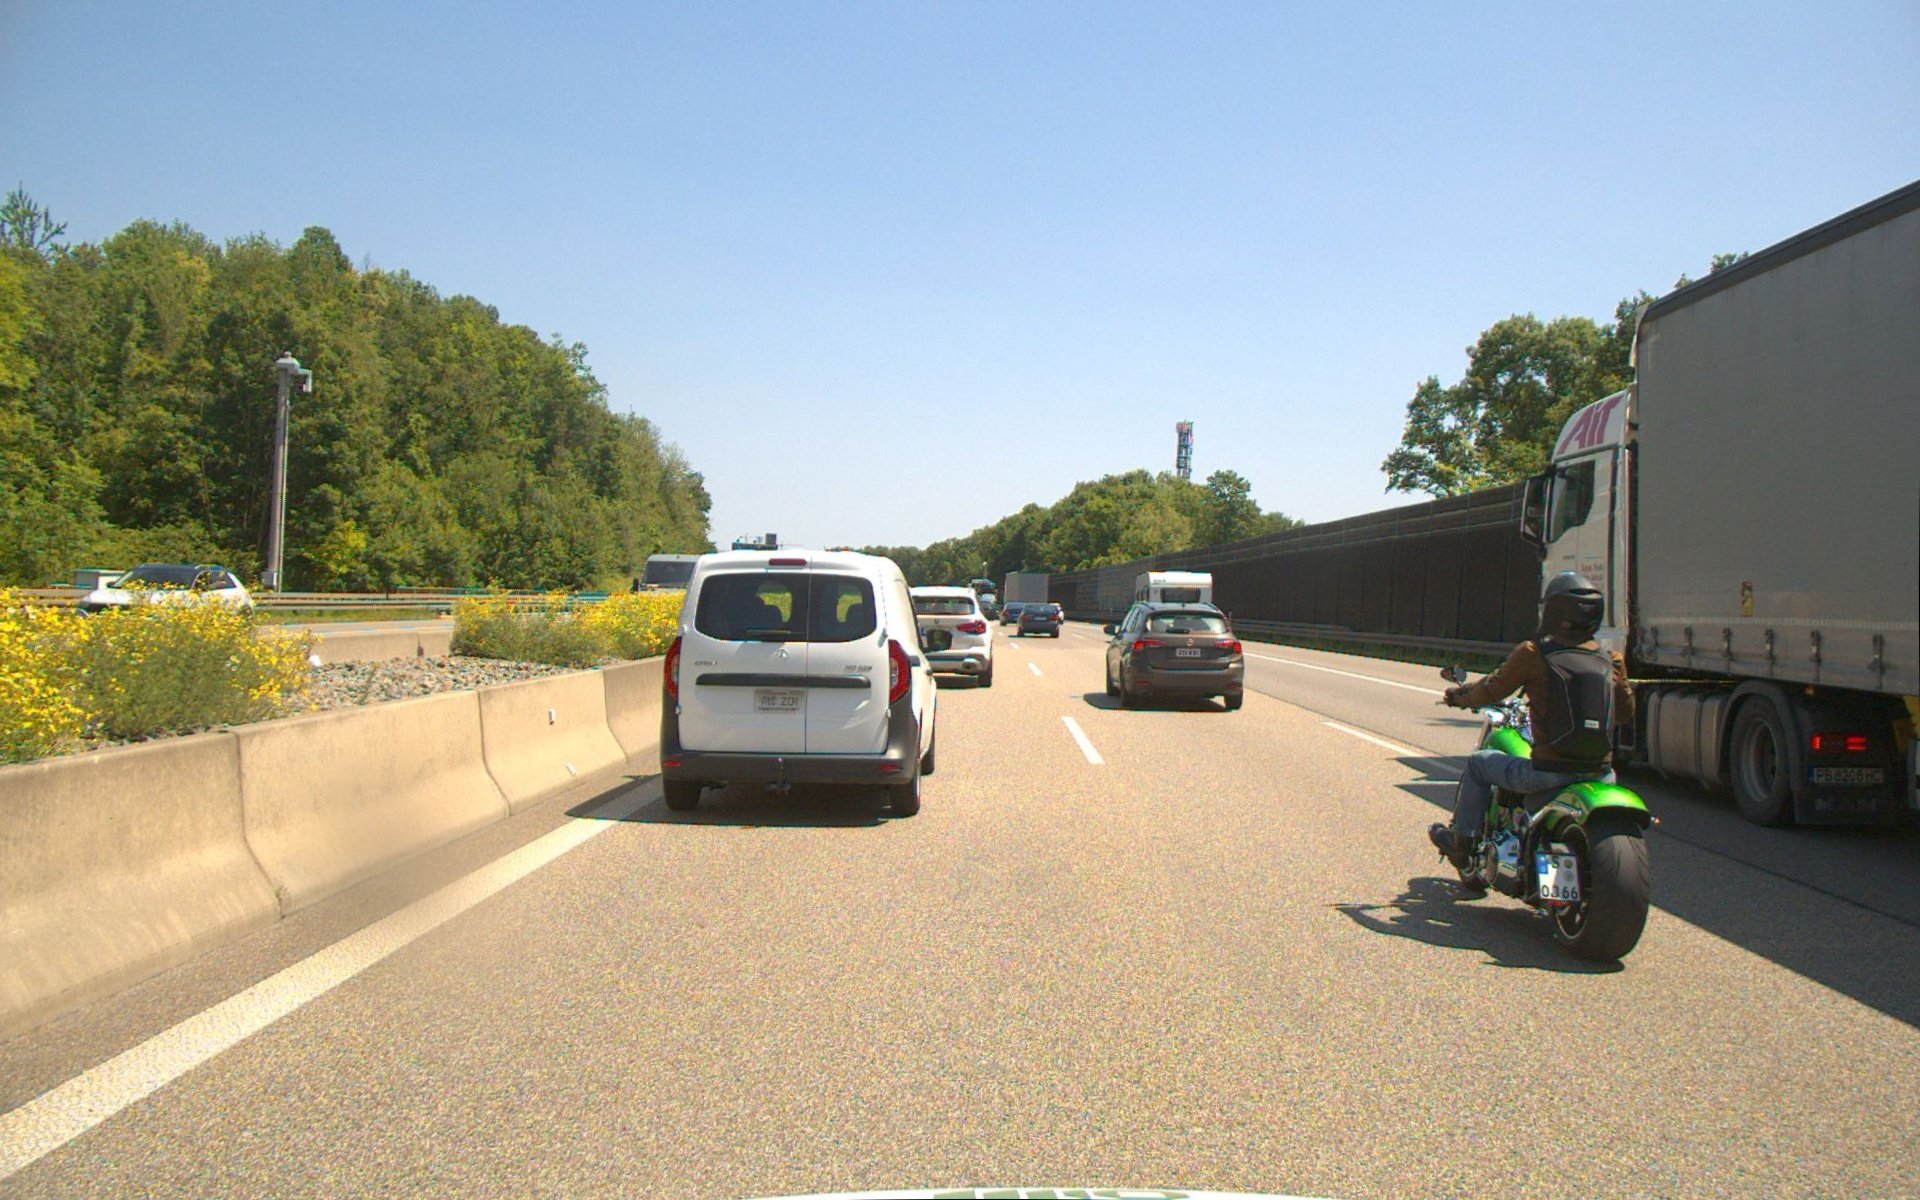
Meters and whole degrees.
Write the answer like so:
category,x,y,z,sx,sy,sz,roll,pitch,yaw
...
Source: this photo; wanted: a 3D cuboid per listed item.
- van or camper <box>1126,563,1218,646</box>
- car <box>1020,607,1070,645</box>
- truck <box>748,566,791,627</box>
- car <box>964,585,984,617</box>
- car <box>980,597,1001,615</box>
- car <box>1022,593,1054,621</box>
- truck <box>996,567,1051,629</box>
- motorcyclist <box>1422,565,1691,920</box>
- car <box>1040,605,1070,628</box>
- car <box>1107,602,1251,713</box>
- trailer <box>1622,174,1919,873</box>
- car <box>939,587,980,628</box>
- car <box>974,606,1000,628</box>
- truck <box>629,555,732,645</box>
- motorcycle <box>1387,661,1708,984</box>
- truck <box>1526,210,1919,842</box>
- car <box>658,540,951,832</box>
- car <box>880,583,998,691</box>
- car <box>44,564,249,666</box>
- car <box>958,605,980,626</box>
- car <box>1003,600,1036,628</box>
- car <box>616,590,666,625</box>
category,x,y,z,sx,sy,sz,roll,pitch,yaw
van or camper,7.835,0.228,61.909,2.630,2.862,6.803,1,-1,1
car,3.458,1.056,67.629,1.952,1.455,3.848,1,-1,2
truck,-17.810,-0.232,155.359,3.412,5.369,10.009,2,-2,-4
car,1.702,0.154,209.099,2.090,3.929,8.139,2,0,-2
car,3.482,0.693,189.753,2.065,1.909,3.998,1,-1,-2
car,4.938,0.448,105.258,1.766,1.716,3.917,2,0,-1
truck,5.368,-0.053,141.614,3.727,5.047,8.944,1,-1,-3
motorcyclist,2.829,0.626,8.065,0.880,1.501,1.873,1,-1,9
car,6.945,1.251,121.648,1.952,1.601,4.000,1,-1,0
car,3.167,0.822,24.565,1.628,1.478,3.869,1,-1,0
trailer,6.974,-0.435,7.422,2.826,4.109,13.798,1,0,2
car,-0.056,0.386,79.485,1.860,1.906,4.411,1,-1,-1
car,2.208,1.411,135.493,1.953,1.669,3.998,1,-1,-2
truck,-7.607,-0.010,45.558,1.799,2.265,6.196,1,0,-1
motorcycle,2.743,0.950,8.119,0.944,1.168,2.814,2,0,9
truck,7.198,-0.473,14.054,2.826,4.218,5.987,1,0,2
car,-1.019,0.560,13.007,1.728,1.844,4.674,1,0,1
car,-0.290,0.615,29.684,1.825,1.724,4.957,1,0,2
car,-14.973,0.251,30.704,1.759,1.738,4.146,1,0,-1
car,0.873,1.552,163.468,1.873,2.049,3.688,1,-1,-3
car,3.539,0.834,99.066,1.743,1.579,3.584,2,0,-1
car,-14.527,0.324,75.417,1.587,1.547,3.423,1,0,-1
